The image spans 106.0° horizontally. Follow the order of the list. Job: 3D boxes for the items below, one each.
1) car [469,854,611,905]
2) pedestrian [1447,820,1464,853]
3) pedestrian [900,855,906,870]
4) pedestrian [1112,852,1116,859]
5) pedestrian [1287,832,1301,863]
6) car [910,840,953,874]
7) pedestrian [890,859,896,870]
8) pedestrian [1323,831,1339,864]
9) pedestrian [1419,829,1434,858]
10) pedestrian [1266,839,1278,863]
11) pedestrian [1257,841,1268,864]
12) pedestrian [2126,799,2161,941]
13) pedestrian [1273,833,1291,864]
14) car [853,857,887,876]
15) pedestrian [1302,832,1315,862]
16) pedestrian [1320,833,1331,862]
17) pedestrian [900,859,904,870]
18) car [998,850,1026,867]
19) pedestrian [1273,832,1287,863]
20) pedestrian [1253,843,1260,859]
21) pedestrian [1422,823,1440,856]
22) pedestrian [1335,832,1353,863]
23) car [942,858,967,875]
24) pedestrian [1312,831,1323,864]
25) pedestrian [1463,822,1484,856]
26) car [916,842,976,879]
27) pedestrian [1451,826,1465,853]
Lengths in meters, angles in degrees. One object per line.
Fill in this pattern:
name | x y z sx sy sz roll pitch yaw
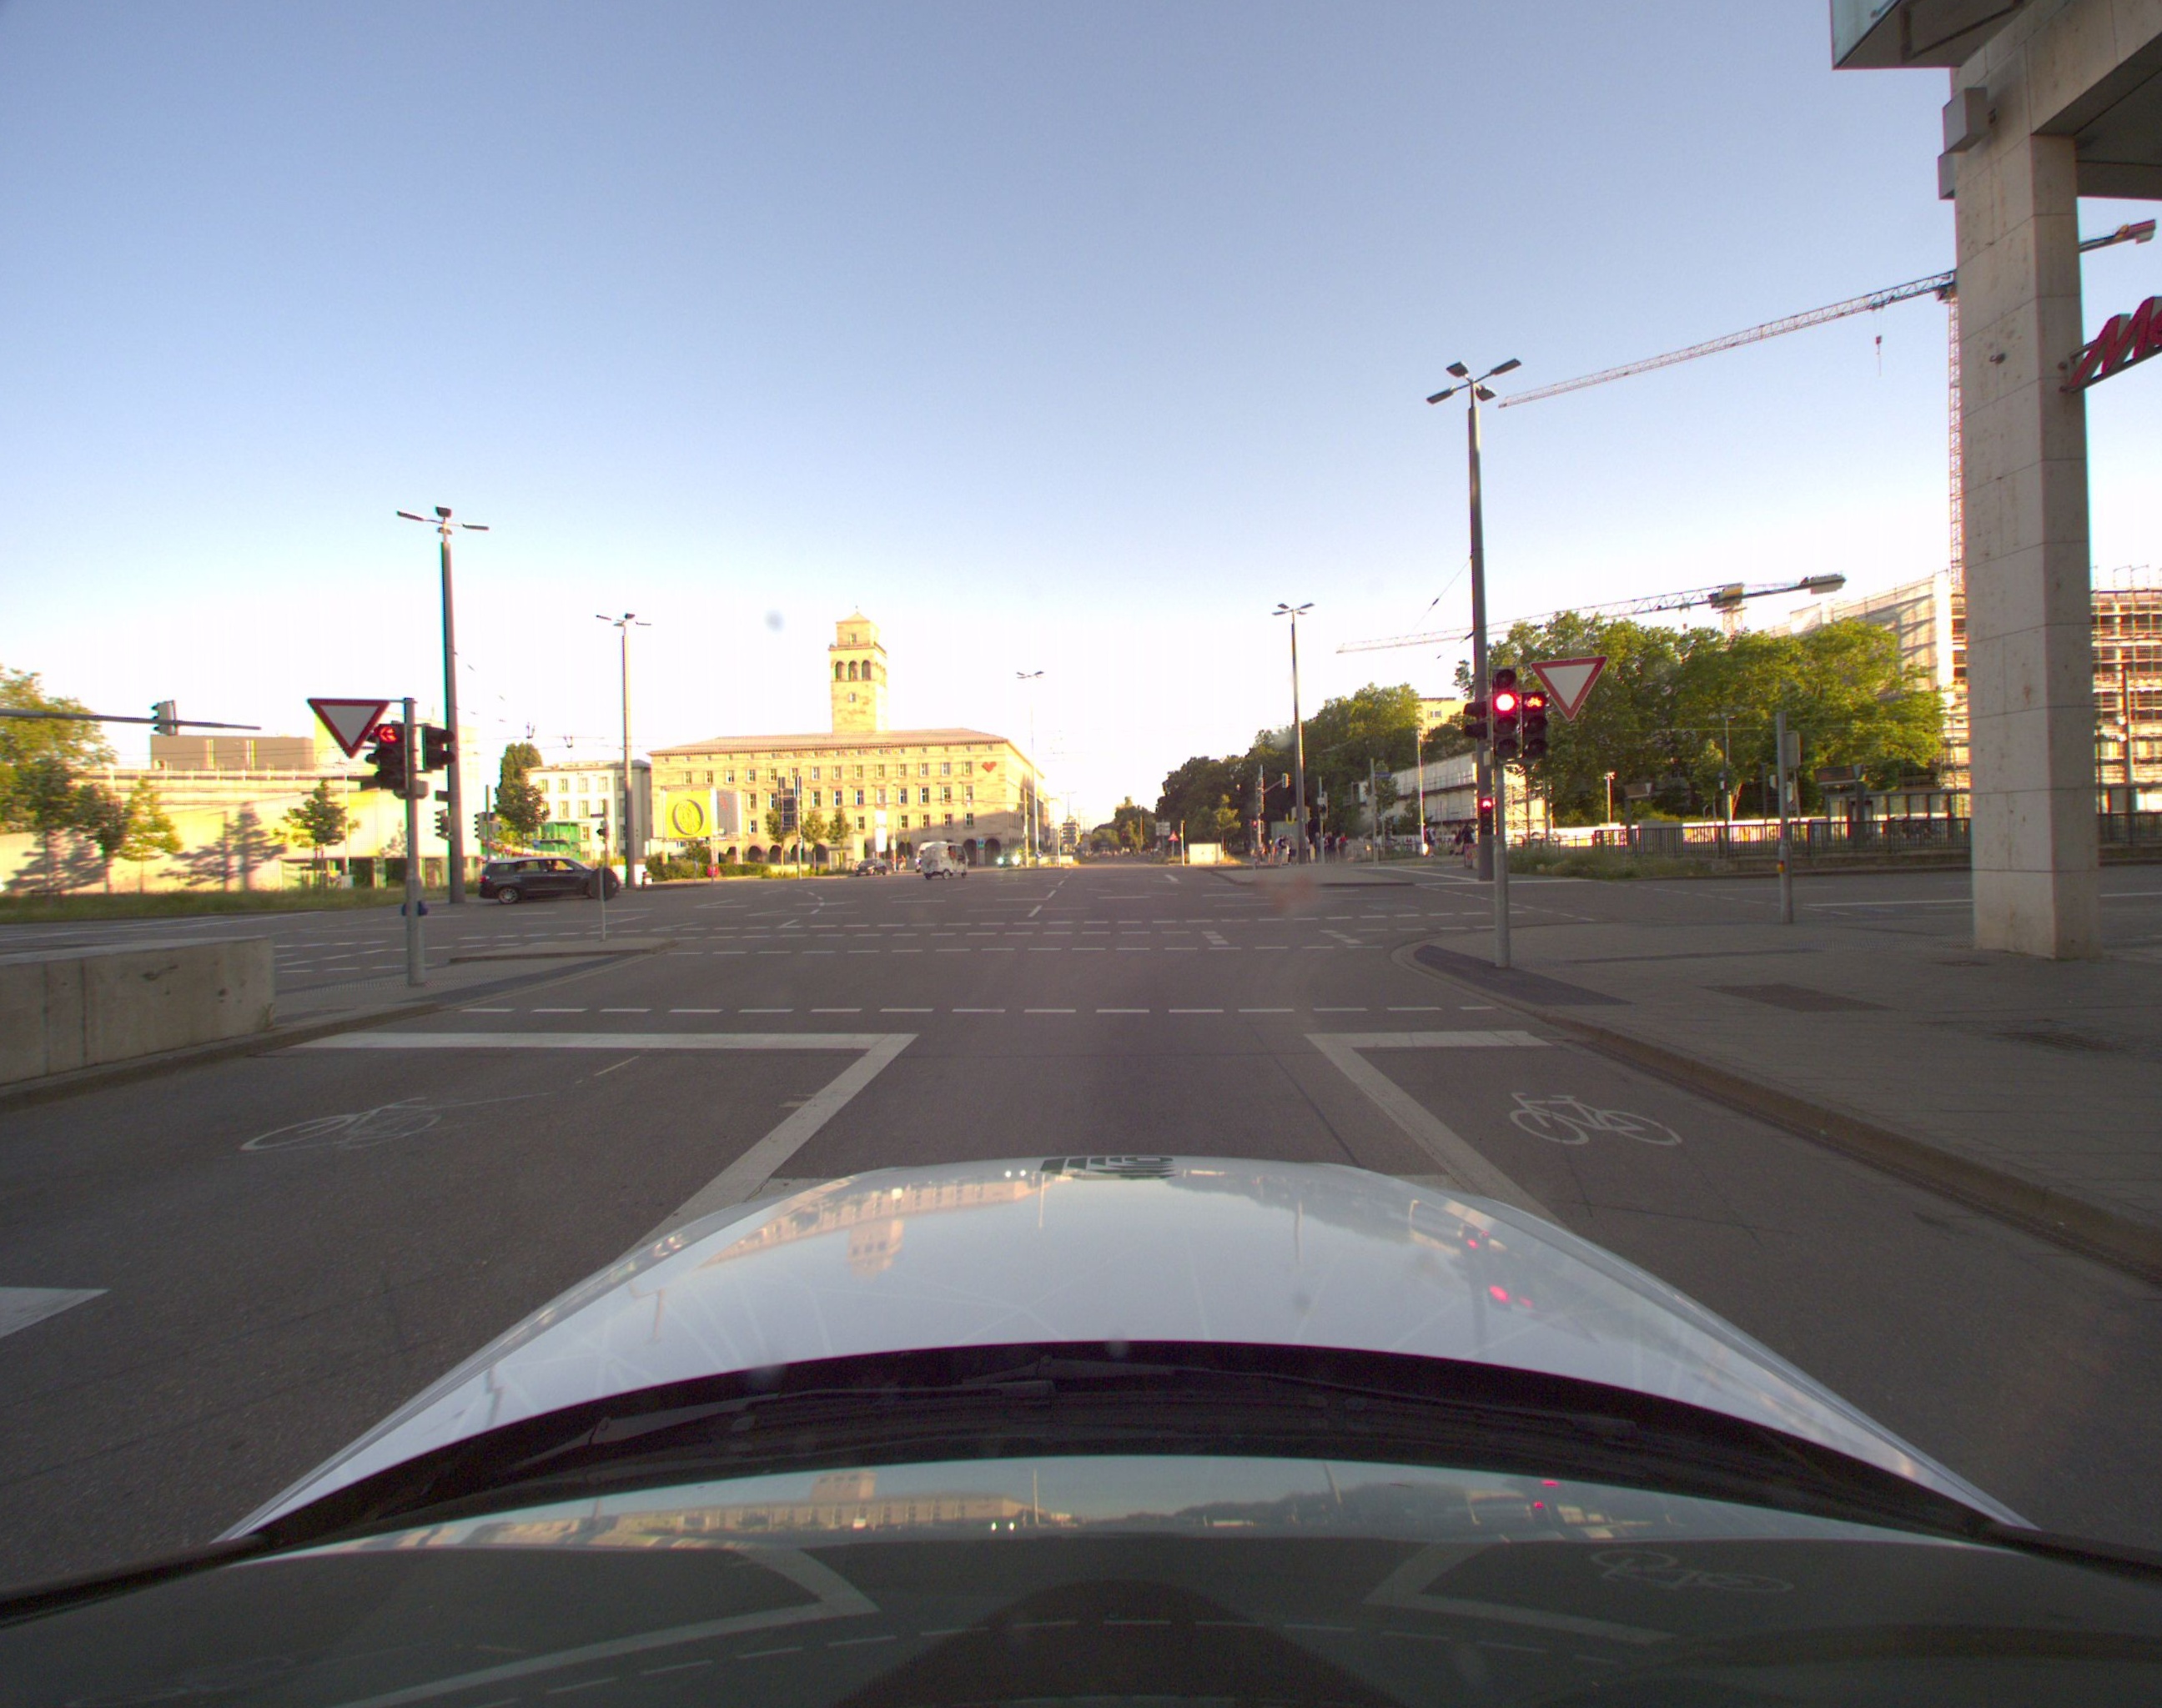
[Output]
car | -19.468 0.870 29.549 4.147 1.604 1.728 -2 0 -30
pedestrian | 19.864 -0.927 43.167 0.705 1.725 0.672 -2 0 19
pedestrian | -20.459 0.948 93.739 0.620 1.744 0.459 0 -1 -4
pedestrian | 7.898 0.394 194.806 0.903 1.671 1.307 -2 1 1
pedestrian | 11.931 -0.368 45.590 0.705 1.725 0.671 -2 1 15
car | -13.289 0.229 72.985 2.269 2.776 6.090 -2 0 4
pedestrian | -21.438 1.202 92.832 0.504 1.300 0.700 0 -1 -3
pedestrian | 13.953 -0.356 45.472 0.799 1.791 0.804 -2 1 16
pedestrian | 18.903 -0.585 44.610 0.569 1.592 0.537 -2 0 1
pedestrian | 14.164 -0.234 60.395 0.673 1.757 0.907 -2 1 22
pedestrian | 13.484 -0.131 60.551 0.555 1.654 0.907 -2 1 22
pedestrian | 12.817 0.173 9.308 0.788 1.638 0.708 -2 0 1
pedestrian | 11.115 -0.305 44.991 0.905 1.725 0.716 -2 1 16
car | -18.324 1.079 70.862 1.817 1.466 4.158 -2 1 0
pedestrian | 12.959 -0.401 46.394 0.705 1.725 0.919 -2 1 15
pedestrian | 14.112 -0.371 46.957 0.568 1.678 0.641 -2 1 16
pedestrian | -20.352 1.196 92.697 0.420 1.300 0.459 0 -1 -3
car | -6.170 0.389 72.962 1.815 1.341 4.005 -2 1 4
pedestrian | 11.182 -0.361 45.718 0.705 1.725 0.671 -2 1 16
pedestrian | 19.414 -0.350 90.102 0.638 1.760 0.526 -2 1 10
pedestrian | 18.661 -0.749 43.417 0.660 1.725 0.718 -2 0 35
pedestrian | 14.791 -0.374 45.823 0.838 1.734 0.708 -2 1 14
car | -12.626 1.251 81.675 1.732 1.487 4.002 -2 1 2
pedestrian | 13.221 -0.363 45.496 0.568 1.791 0.641 -2 1 16
pedestrian | 20.502 -0.785 42.504 0.666 1.725 0.711 -2 0 -9
car | -6.654 0.282 40.318 1.469 1.696 2.991 -2 0 25
pedestrian | 20.293 -0.793 43.838 0.670 1.441 0.718 -2 0 24
